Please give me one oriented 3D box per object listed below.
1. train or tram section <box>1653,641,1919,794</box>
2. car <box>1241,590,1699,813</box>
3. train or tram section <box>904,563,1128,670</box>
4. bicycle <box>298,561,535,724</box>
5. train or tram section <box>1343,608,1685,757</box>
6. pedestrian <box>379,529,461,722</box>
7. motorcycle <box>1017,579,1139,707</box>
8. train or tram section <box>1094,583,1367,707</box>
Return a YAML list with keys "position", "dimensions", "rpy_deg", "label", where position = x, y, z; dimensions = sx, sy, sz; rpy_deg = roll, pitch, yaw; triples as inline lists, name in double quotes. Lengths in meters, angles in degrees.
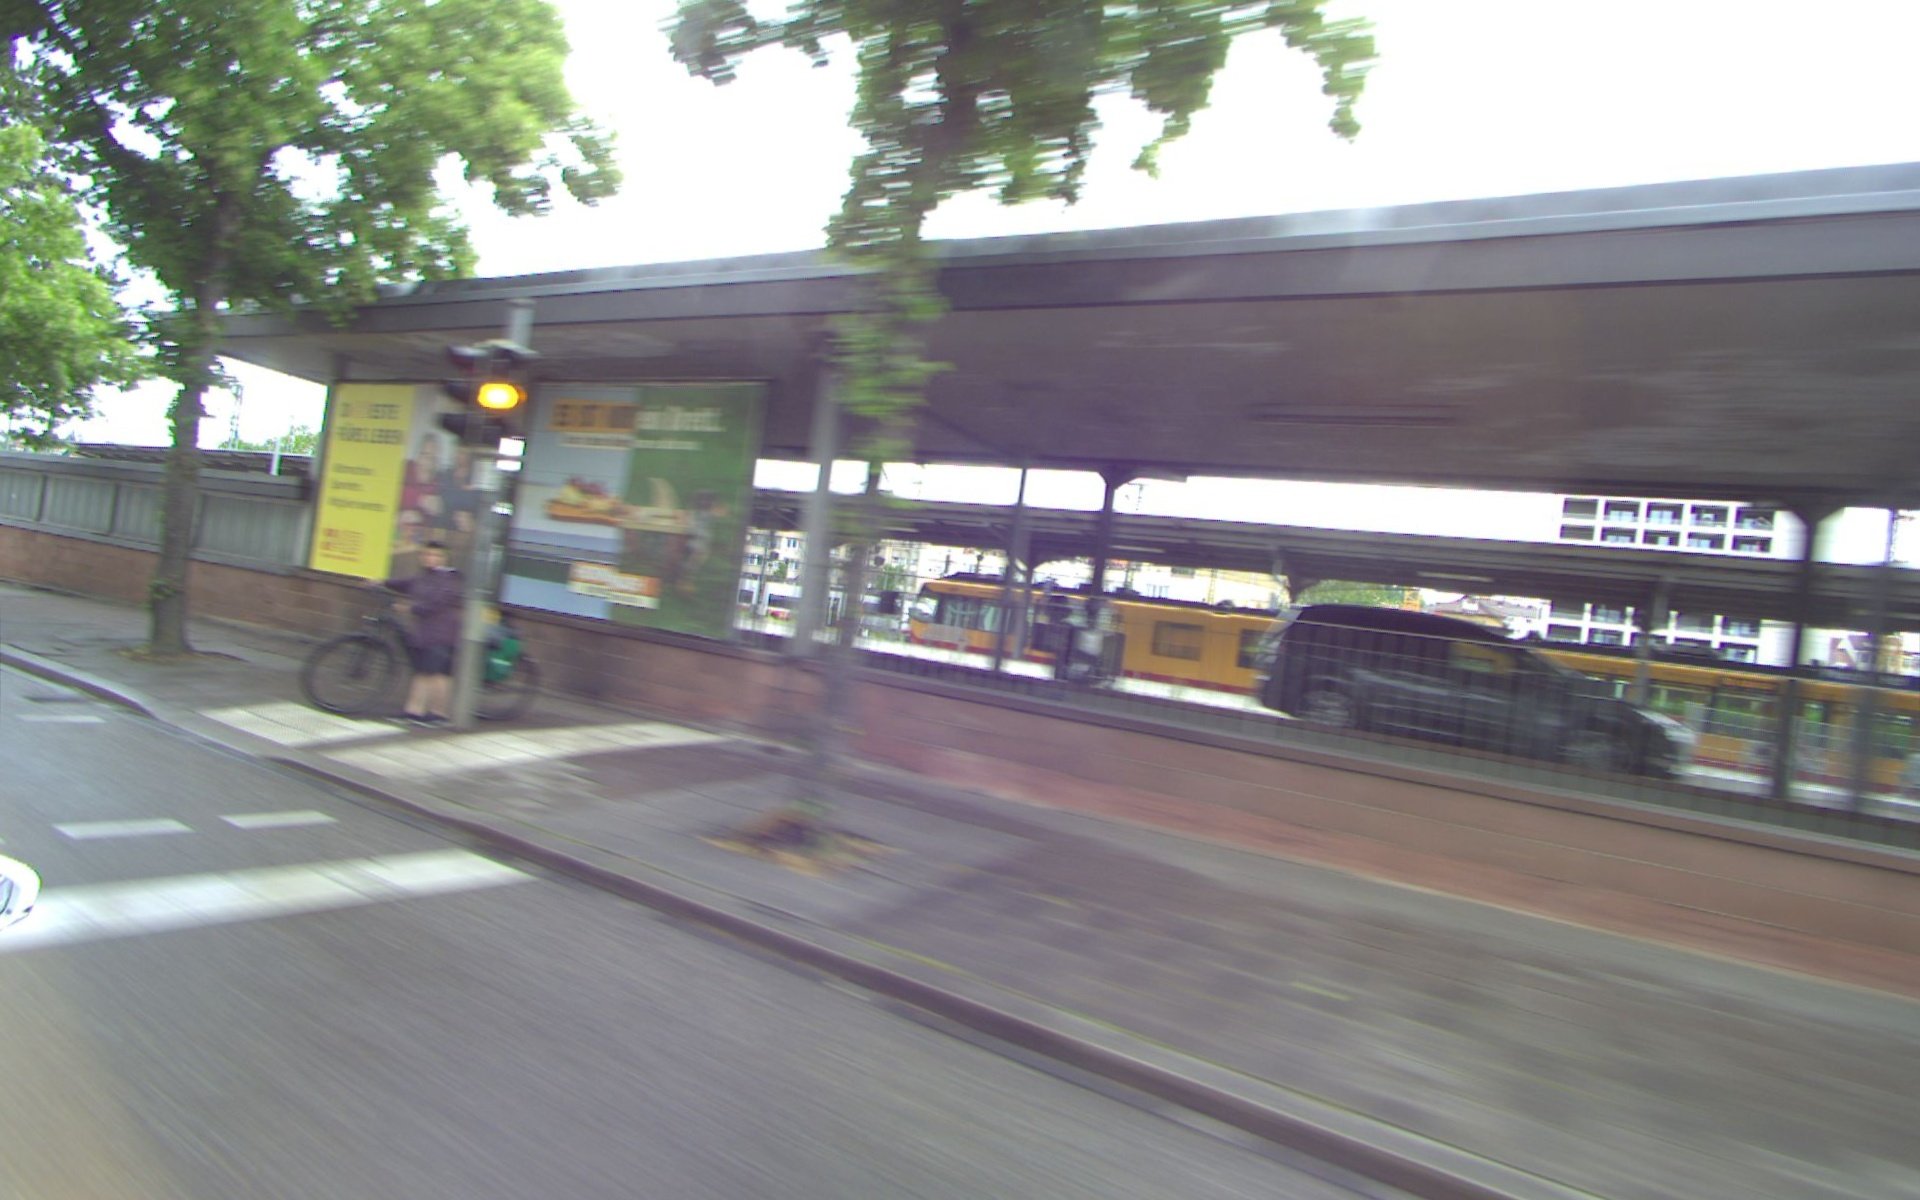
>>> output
- position: [25.109, 3.403, 27.758]
  dimensions: [9.359, 3.323, 2.658]
  rpy_deg: [7, 0, 30]
  label: "train or tram section"
- position: [6.093, 1.137, 12.445]
  dimensions: [4.520, 1.893, 1.998]
  rpy_deg: [7, -1, 30]
  label: "car"
- position: [2.172, 0.631, 41.163]
  dimensions: [8.615, 3.323, 2.658]
  rpy_deg: [7, 0, 30]
  label: "train or tram section"
- position: [-4.756, 0.390, 8.907]
  dimensions: [1.705, 1.265, 0.483]
  rpy_deg: [6, 1, -28]
  label: "bicycle"
- position: [17.438, 2.493, 32.338]
  dimensions: [8.979, 3.323, 2.658]
  rpy_deg: [7, 0, 30]
  label: "train or tram section"
- position: [-4.610, 0.217, 8.614]
  dimensions: [0.452, 1.588, 0.390]
  rpy_deg: [7, 0, -27]
  label: "pedestrian"
- position: [1.758, 0.668, 14.506]
  dimensions: [0.682, 1.628, 2.346]
  rpy_deg: [7, -2, 31]
  label: "motorcycle"
- position: [9.717, 1.535, 36.710]
  dimensions: [8.979, 3.323, 2.658]
  rpy_deg: [7, 0, 30]
  label: "train or tram section"
